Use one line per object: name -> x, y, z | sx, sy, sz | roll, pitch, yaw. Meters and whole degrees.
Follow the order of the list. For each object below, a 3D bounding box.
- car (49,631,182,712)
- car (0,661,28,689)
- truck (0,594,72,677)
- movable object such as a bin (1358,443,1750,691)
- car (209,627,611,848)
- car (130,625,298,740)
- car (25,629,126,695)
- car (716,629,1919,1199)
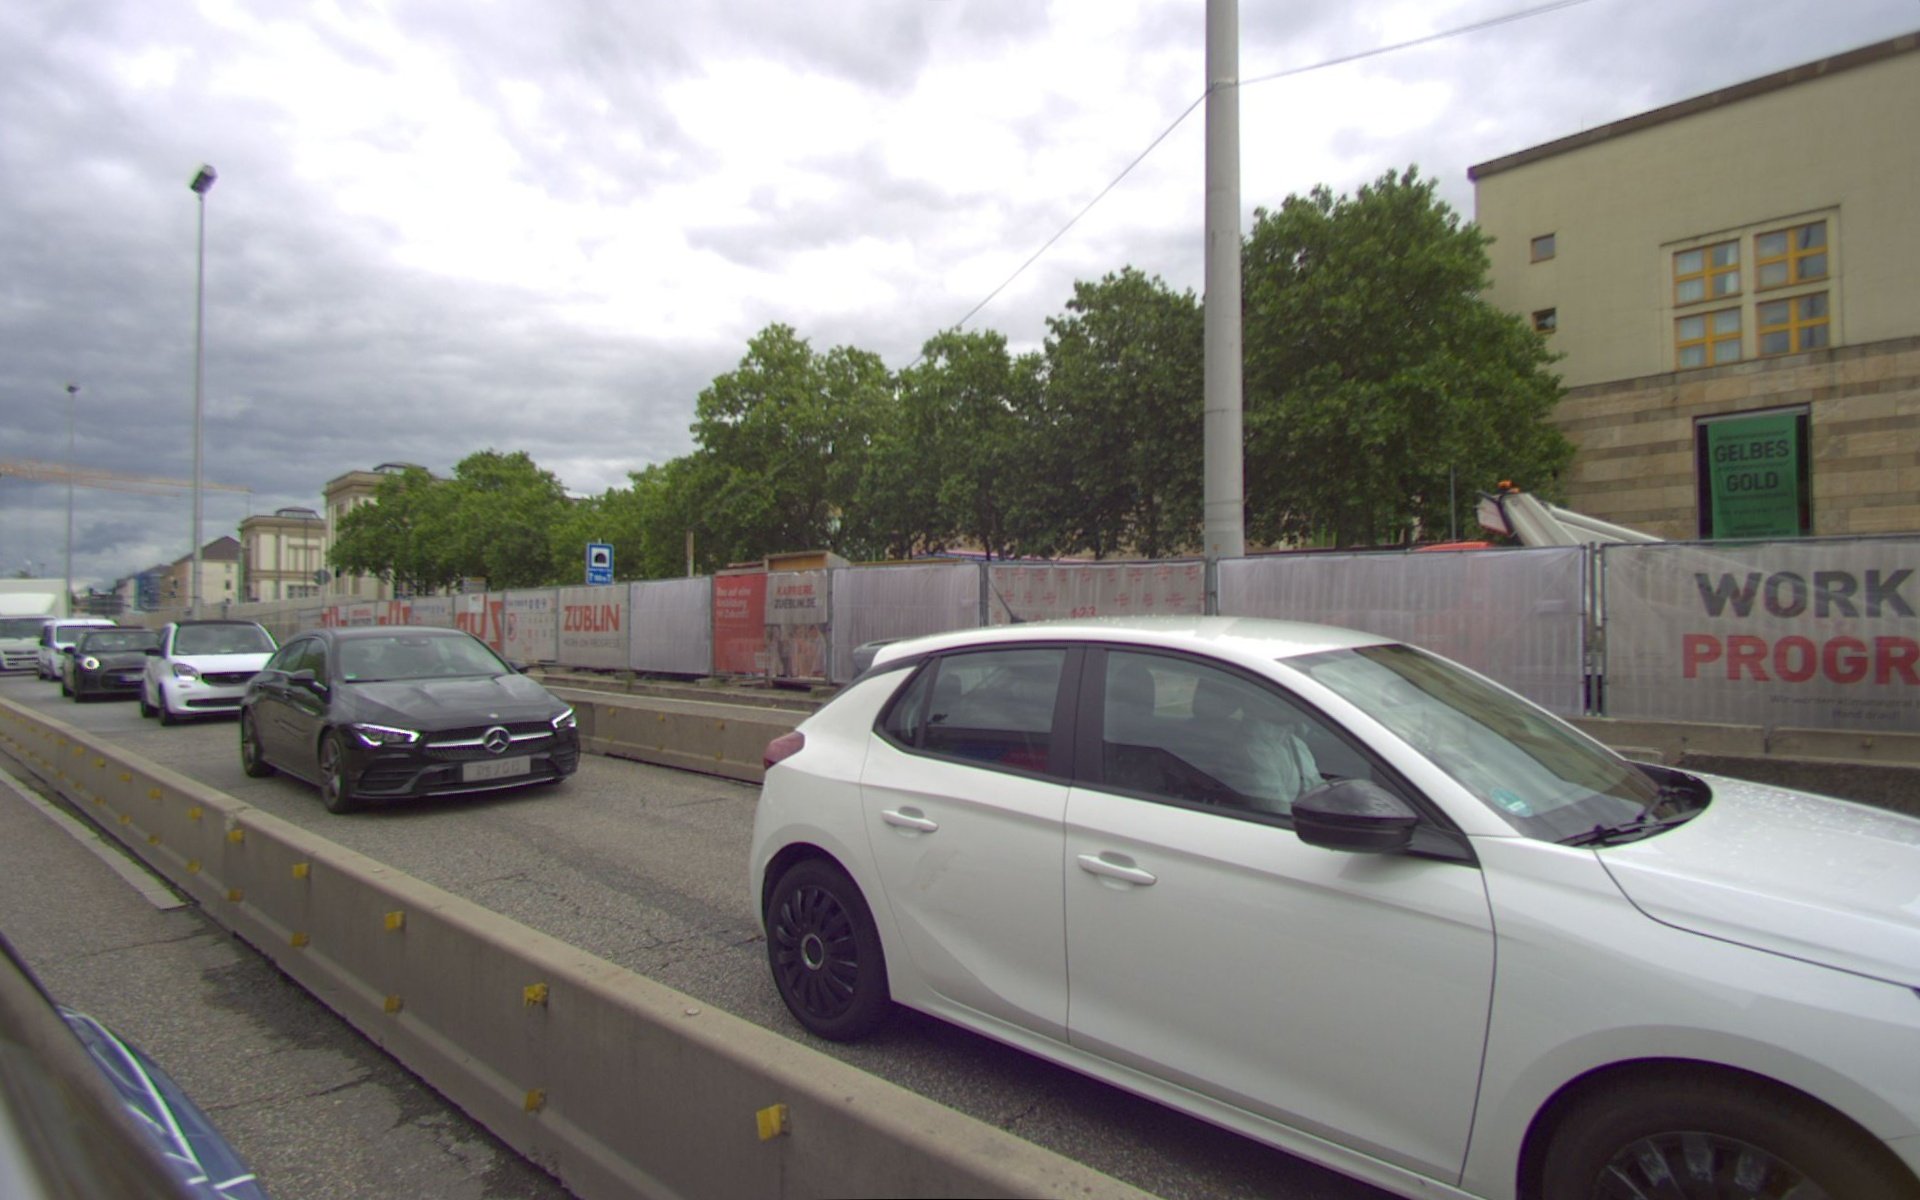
car -> -17.292, 1.380, 20.655 | 3.935, 1.450, 1.629 | -2, -1, 43
car -> -58.982, 4.606, 62.268 | 3.996, 1.519, 1.849 | -1, 1, 39
truck -> -34.860, 1.287, 37.150 | 2.936, 2.795, 7.259 | 1, -2, -45
movable object such as a bin -> 6.132, -0.249, 10.624 | 3.291, 2.202, 1.506 | -2, -2, 41
car -> -5.121, 0.994, 9.092 | 4.566, 1.426, 1.834 | -2, 0, 43
car -> -11.764, 1.210, 15.901 | 3.002, 1.566, 1.612 | -2, -1, 43
car -> -25.955, 1.759, 29.649 | 4.481, 1.774, 1.817 | -2, -2, 44
car -> 1.159, 0.772, 3.016 | 3.933, 1.306, 1.708 | -1, 0, 41
